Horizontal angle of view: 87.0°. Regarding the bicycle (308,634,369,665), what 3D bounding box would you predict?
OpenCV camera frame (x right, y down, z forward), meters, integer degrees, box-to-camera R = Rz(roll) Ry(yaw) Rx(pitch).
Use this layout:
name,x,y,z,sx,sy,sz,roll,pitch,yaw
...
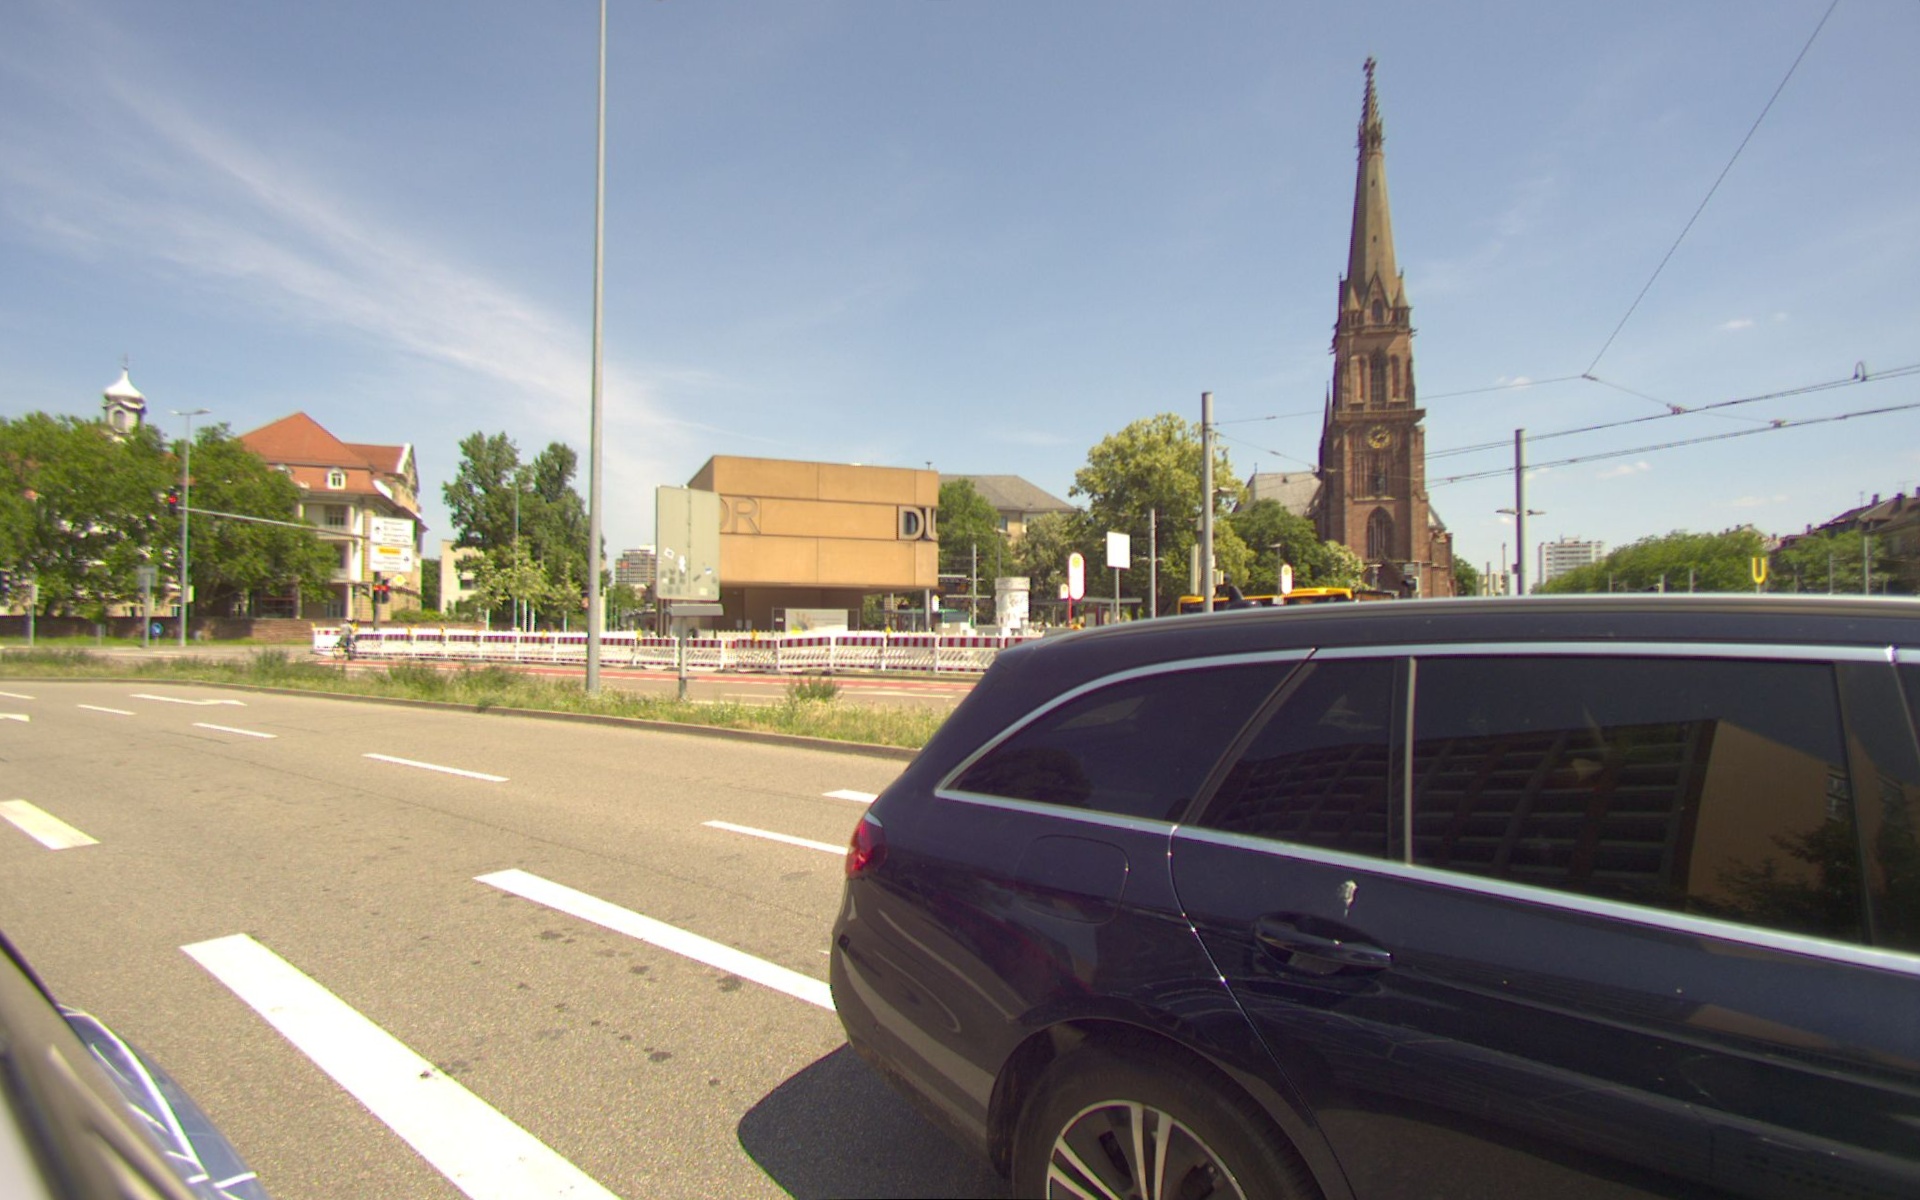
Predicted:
name,x,y,z,sx,sy,sz,roll,pitch,yaw
bicycle,-23.117,1.835,37.636,2.220,1.080,0.871,-1,0,26

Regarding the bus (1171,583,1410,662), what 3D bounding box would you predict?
name,x,y,z,sx,sy,sz,roll,pitch,yaw
bus,14.103,1.081,45.024,2.807,3.039,12.259,1,-2,-22

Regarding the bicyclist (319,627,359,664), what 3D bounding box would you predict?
name,x,y,z,sx,sy,sz,roll,pitch,yaw
bicyclist,-23.222,1.691,37.848,1.432,1.366,0.581,-1,0,26

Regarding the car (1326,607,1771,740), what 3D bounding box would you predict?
name,x,y,z,sx,sy,sz,roll,pitch,yaw
car,7.725,0.903,13.766,1.968,1.476,4.854,2,-2,-39

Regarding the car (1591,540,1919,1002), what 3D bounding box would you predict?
name,x,y,z,sx,sy,sz,roll,pitch,yaw
car,4.547,0.586,3.526,3.736,1.588,1.725,-2,-3,42

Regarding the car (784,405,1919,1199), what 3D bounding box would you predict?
name,x,y,z,sx,sy,sz,roll,pitch,yaw
car,1.961,0.603,1.454,4.803,1.653,1.778,-2,-1,42

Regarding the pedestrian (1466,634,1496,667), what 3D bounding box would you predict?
name,x,y,z,sx,sy,sz,roll,pitch,yaw
pedestrian,21.565,2.098,41.924,0.518,1.344,1.001,1,-2,-17
